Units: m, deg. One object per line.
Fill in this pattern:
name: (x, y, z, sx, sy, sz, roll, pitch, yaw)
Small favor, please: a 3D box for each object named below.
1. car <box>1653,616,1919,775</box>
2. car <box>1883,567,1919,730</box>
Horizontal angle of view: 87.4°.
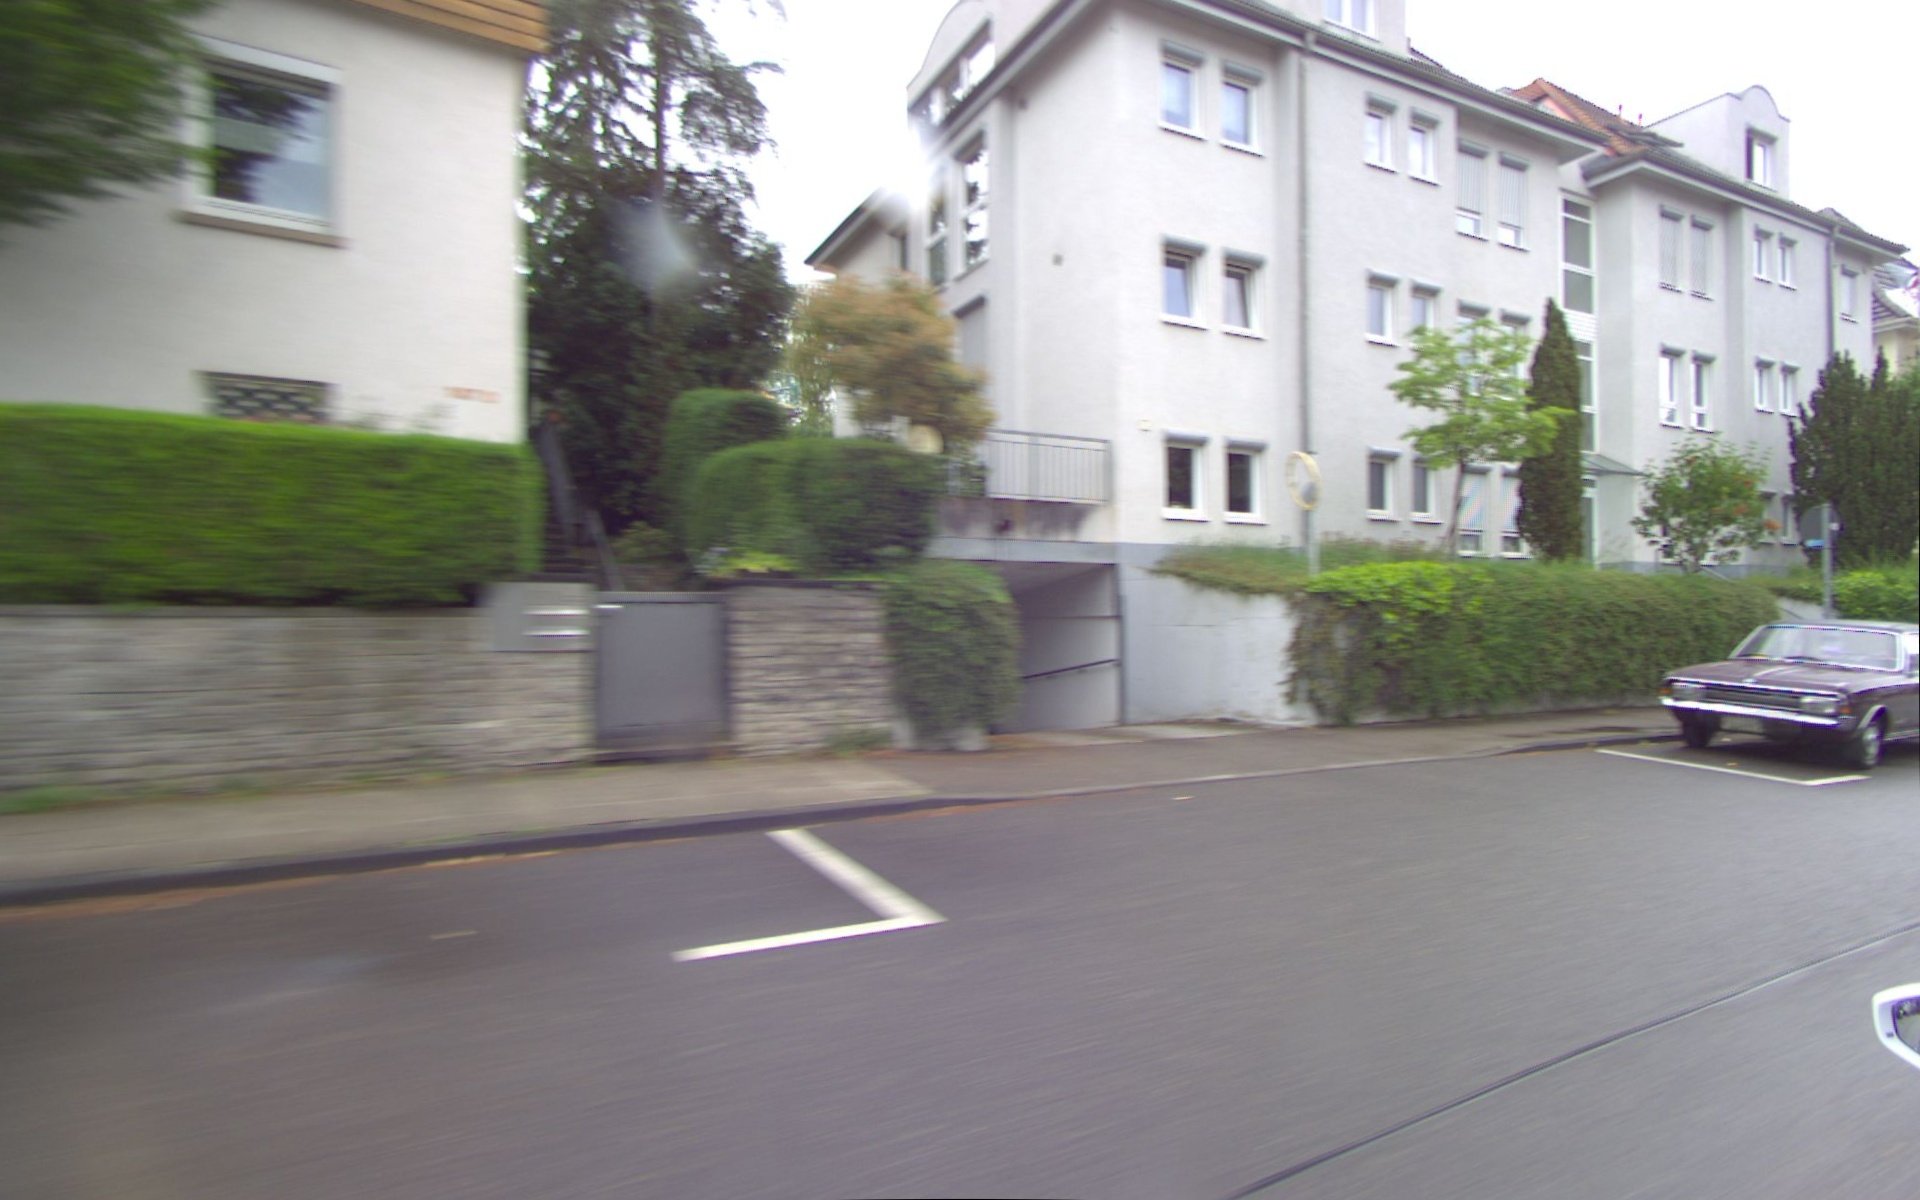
car: (9.806, 0.912, 11.170, 4.557, 1.436, 1.636, 0, 1, -30)
car: (14.673, 0.668, 13.415, 4.945, 2.083, 1.823, 1, 0, -27)
